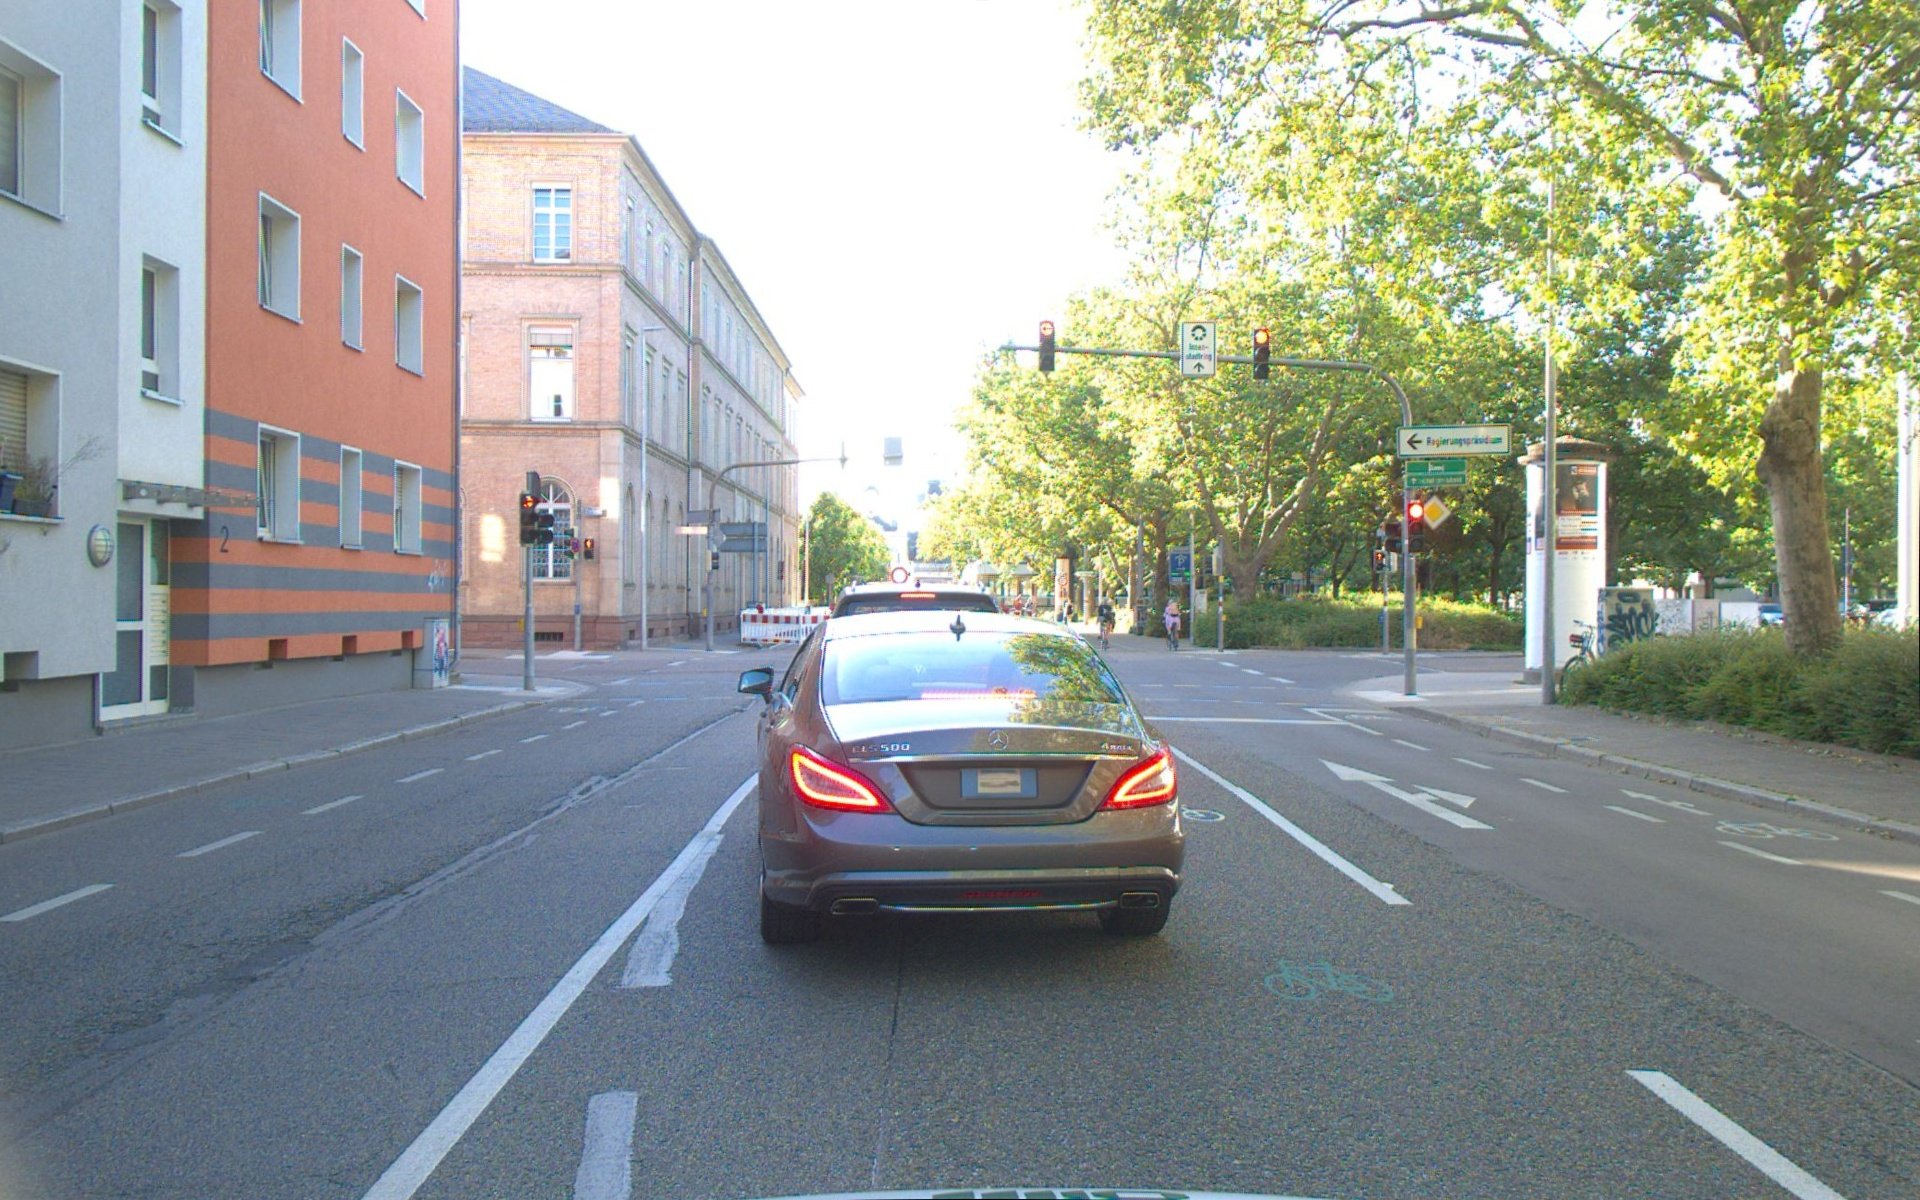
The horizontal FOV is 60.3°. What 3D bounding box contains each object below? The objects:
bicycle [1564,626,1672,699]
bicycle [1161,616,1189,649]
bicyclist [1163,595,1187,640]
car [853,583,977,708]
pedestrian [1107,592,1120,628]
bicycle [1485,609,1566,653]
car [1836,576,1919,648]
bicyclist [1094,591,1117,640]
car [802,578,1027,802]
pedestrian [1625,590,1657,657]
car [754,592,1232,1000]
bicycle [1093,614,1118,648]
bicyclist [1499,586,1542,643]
[{"bbox_3d":[9.683,0.914,24.369,1.387,1.055,0.538,0,0,-5],"label":"bicycle"},{"bbox_3d":[6.879,1.032,53.022,0.588,1.002,1.881,2,0,-1],"label":"bicycle"},{"bbox_3d":[6.894,0.562,53.044,0.588,1.426,0.931,2,0,-1],"label":"bicyclist"},{"bbox_3d":[-0.670,0.611,23.951,1.647,1.653,3.839,0,0,-2],"label":"car"},{"bbox_3d":[7.321,0.471,78.856,0.548,1.707,0.564,0,0,-1],"label":"pedestrian"},{"bbox_3d":[15.703,0.853,45.960,1.961,1.205,0.883,0,0,-11],"label":"bicycle"},{"bbox_3d":[25.393,0.314,43.246,3.912,1.815,2.001,0,0,4],"label":"car"},{"bbox_3d":[4.662,0.483,53.097,0.598,1.542,0.889,2,0,-1],"label":"bicyclist"},{"bbox_3d":[-0.404,0.667,14.121,1.647,1.653,3.839,0,0,-2],"label":"car"},{"bbox_3d":[18.625,0.644,45.246,0.607,1.815,0.630,0,0,1],"label":"pedestrian"},{"bbox_3d":[-0.124,0.726,8.377,1.787,1.502,4.346,0,0,-8],"label":"car"},{"bbox_3d":[4.653,0.994,52.979,0.598,1.044,1.731,2,0,-1],"label":"bicycle"},{"bbox_3d":[15.560,0.398,45.926,0.798,1.581,0.883,0,0,-10],"label":"bicyclist"}]
